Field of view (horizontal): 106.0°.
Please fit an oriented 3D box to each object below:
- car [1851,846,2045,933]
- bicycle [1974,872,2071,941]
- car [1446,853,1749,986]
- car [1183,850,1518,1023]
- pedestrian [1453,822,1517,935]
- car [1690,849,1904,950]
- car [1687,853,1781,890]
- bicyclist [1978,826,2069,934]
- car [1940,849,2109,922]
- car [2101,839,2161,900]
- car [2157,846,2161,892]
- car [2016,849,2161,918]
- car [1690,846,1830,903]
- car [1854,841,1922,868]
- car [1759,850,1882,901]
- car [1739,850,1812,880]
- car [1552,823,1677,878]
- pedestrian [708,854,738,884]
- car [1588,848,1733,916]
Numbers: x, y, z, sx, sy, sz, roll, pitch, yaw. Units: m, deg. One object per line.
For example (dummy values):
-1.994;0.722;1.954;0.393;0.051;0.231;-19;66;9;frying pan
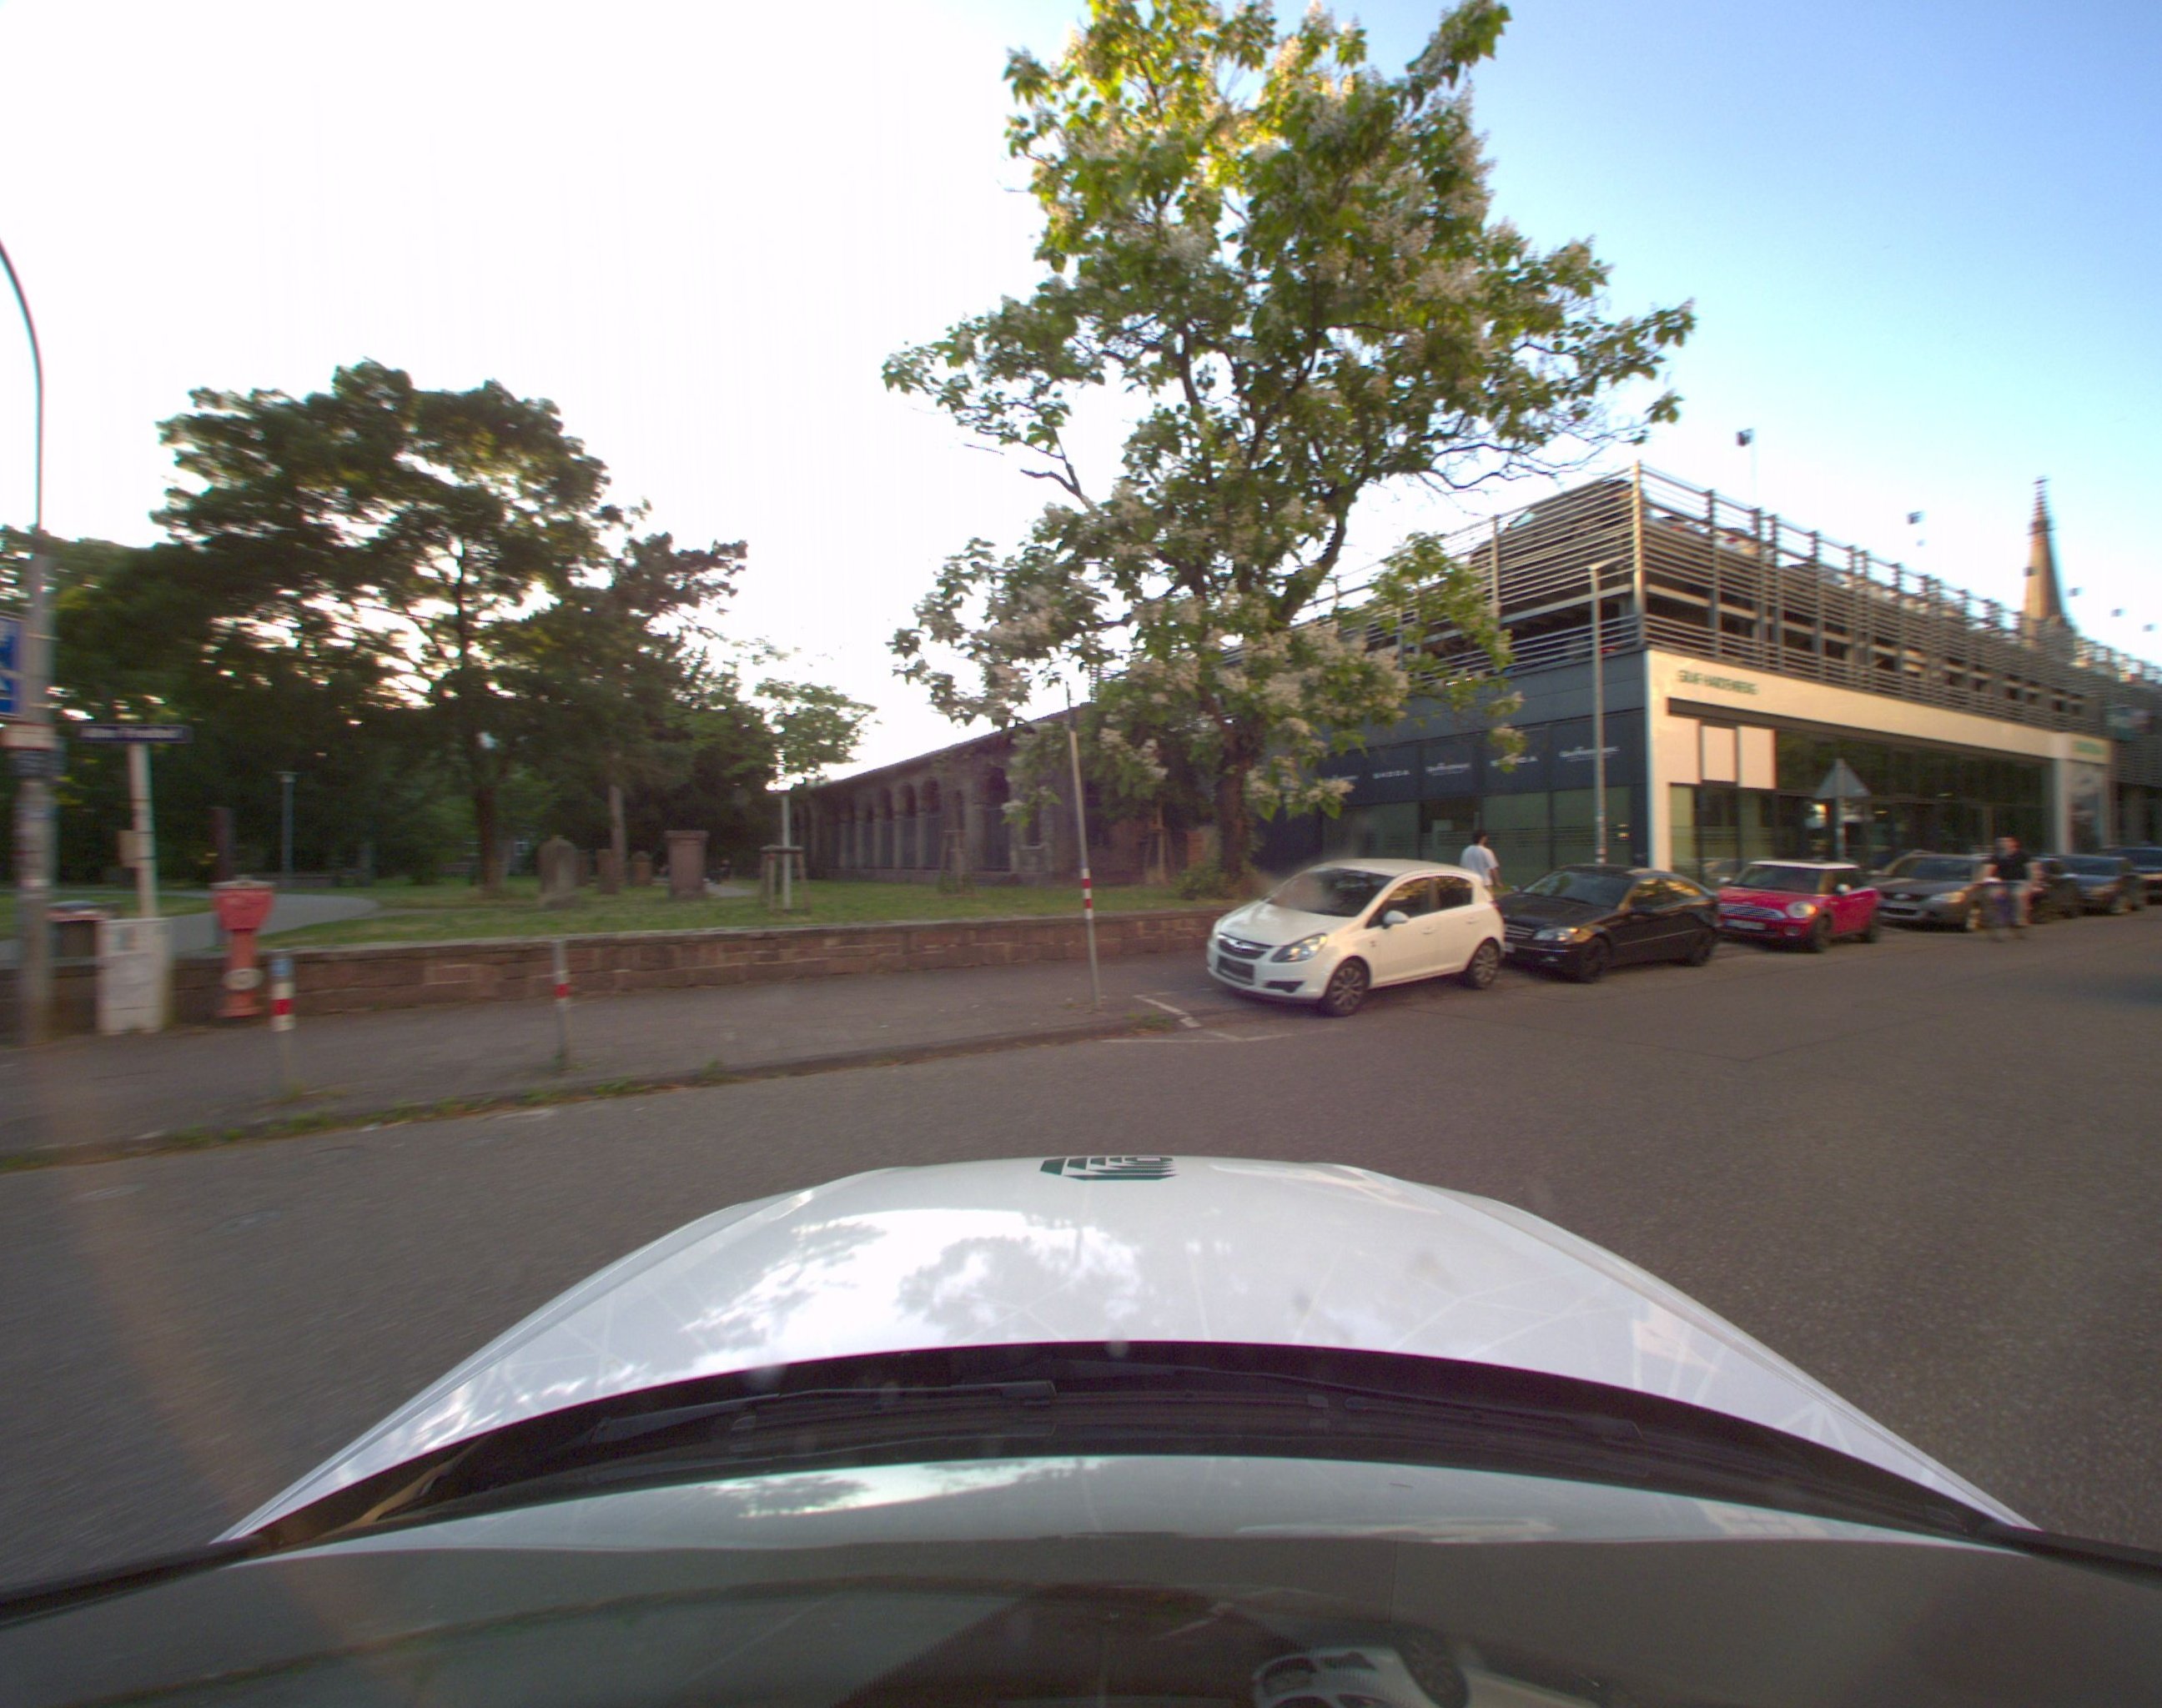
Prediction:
18.039;0.655;16.941;3.893;1.497;1.653;-1;5;-27;car
16.478;0.889;14.248;1.870;1.097;0.754;-1;-2;-31;bicycle
7.398;0.793;11.585;4.425;1.415;1.652;-1;5;-29;car
3.212;0.782;9.486;3.899;1.514;1.650;-1;3;-33;car
6.980;0.405;14.081;0.621;1.878;0.717;-1;-1;-26;pedestrian
12.649;0.702;14.349;3.940;1.410;1.651;-1;4;-31;car
27.890;0.737;34.764;3.929;1.434;1.688;-1;-1;-28;car
16.518;0.439;14.278;1.020;1.808;0.853;-1;-1;-32;bicyclist
22.176;0.656;19.120;4.017;1.402;1.719;-1;5;-29;car
32.585;0.413;24.406;4.413;1.756;1.688;-1;-1;-28;car
37.626;0.457;27.020;3.799;1.506;1.688;-1;-1;-28;car
26.860;0.712;21.422;4.212;1.597;1.927;-2;0;-26;car
20.067;0.569;24.038;4.202;1.515;1.688;-1;-1;-28;car
41.184;0.024;41.537;3.534;1.255;1.412;-2;0;-27;car
24.276;0.686;26.727;4.002;1.515;1.688;-1;-1;-27;car
32.104;0.509;37.640;3.221;1.255;1.412;-2;0;-27;car
17.027;-0.117;25.981;3.747;1.658;1.688;-1;-1;-28;car
-17.571;0.733;40.006;1.282;1.426;1.229;-1;0;-21;pedestrian
15.655;0.714;21.961;3.885;1.650;1.583;-1;-1;-28;car
